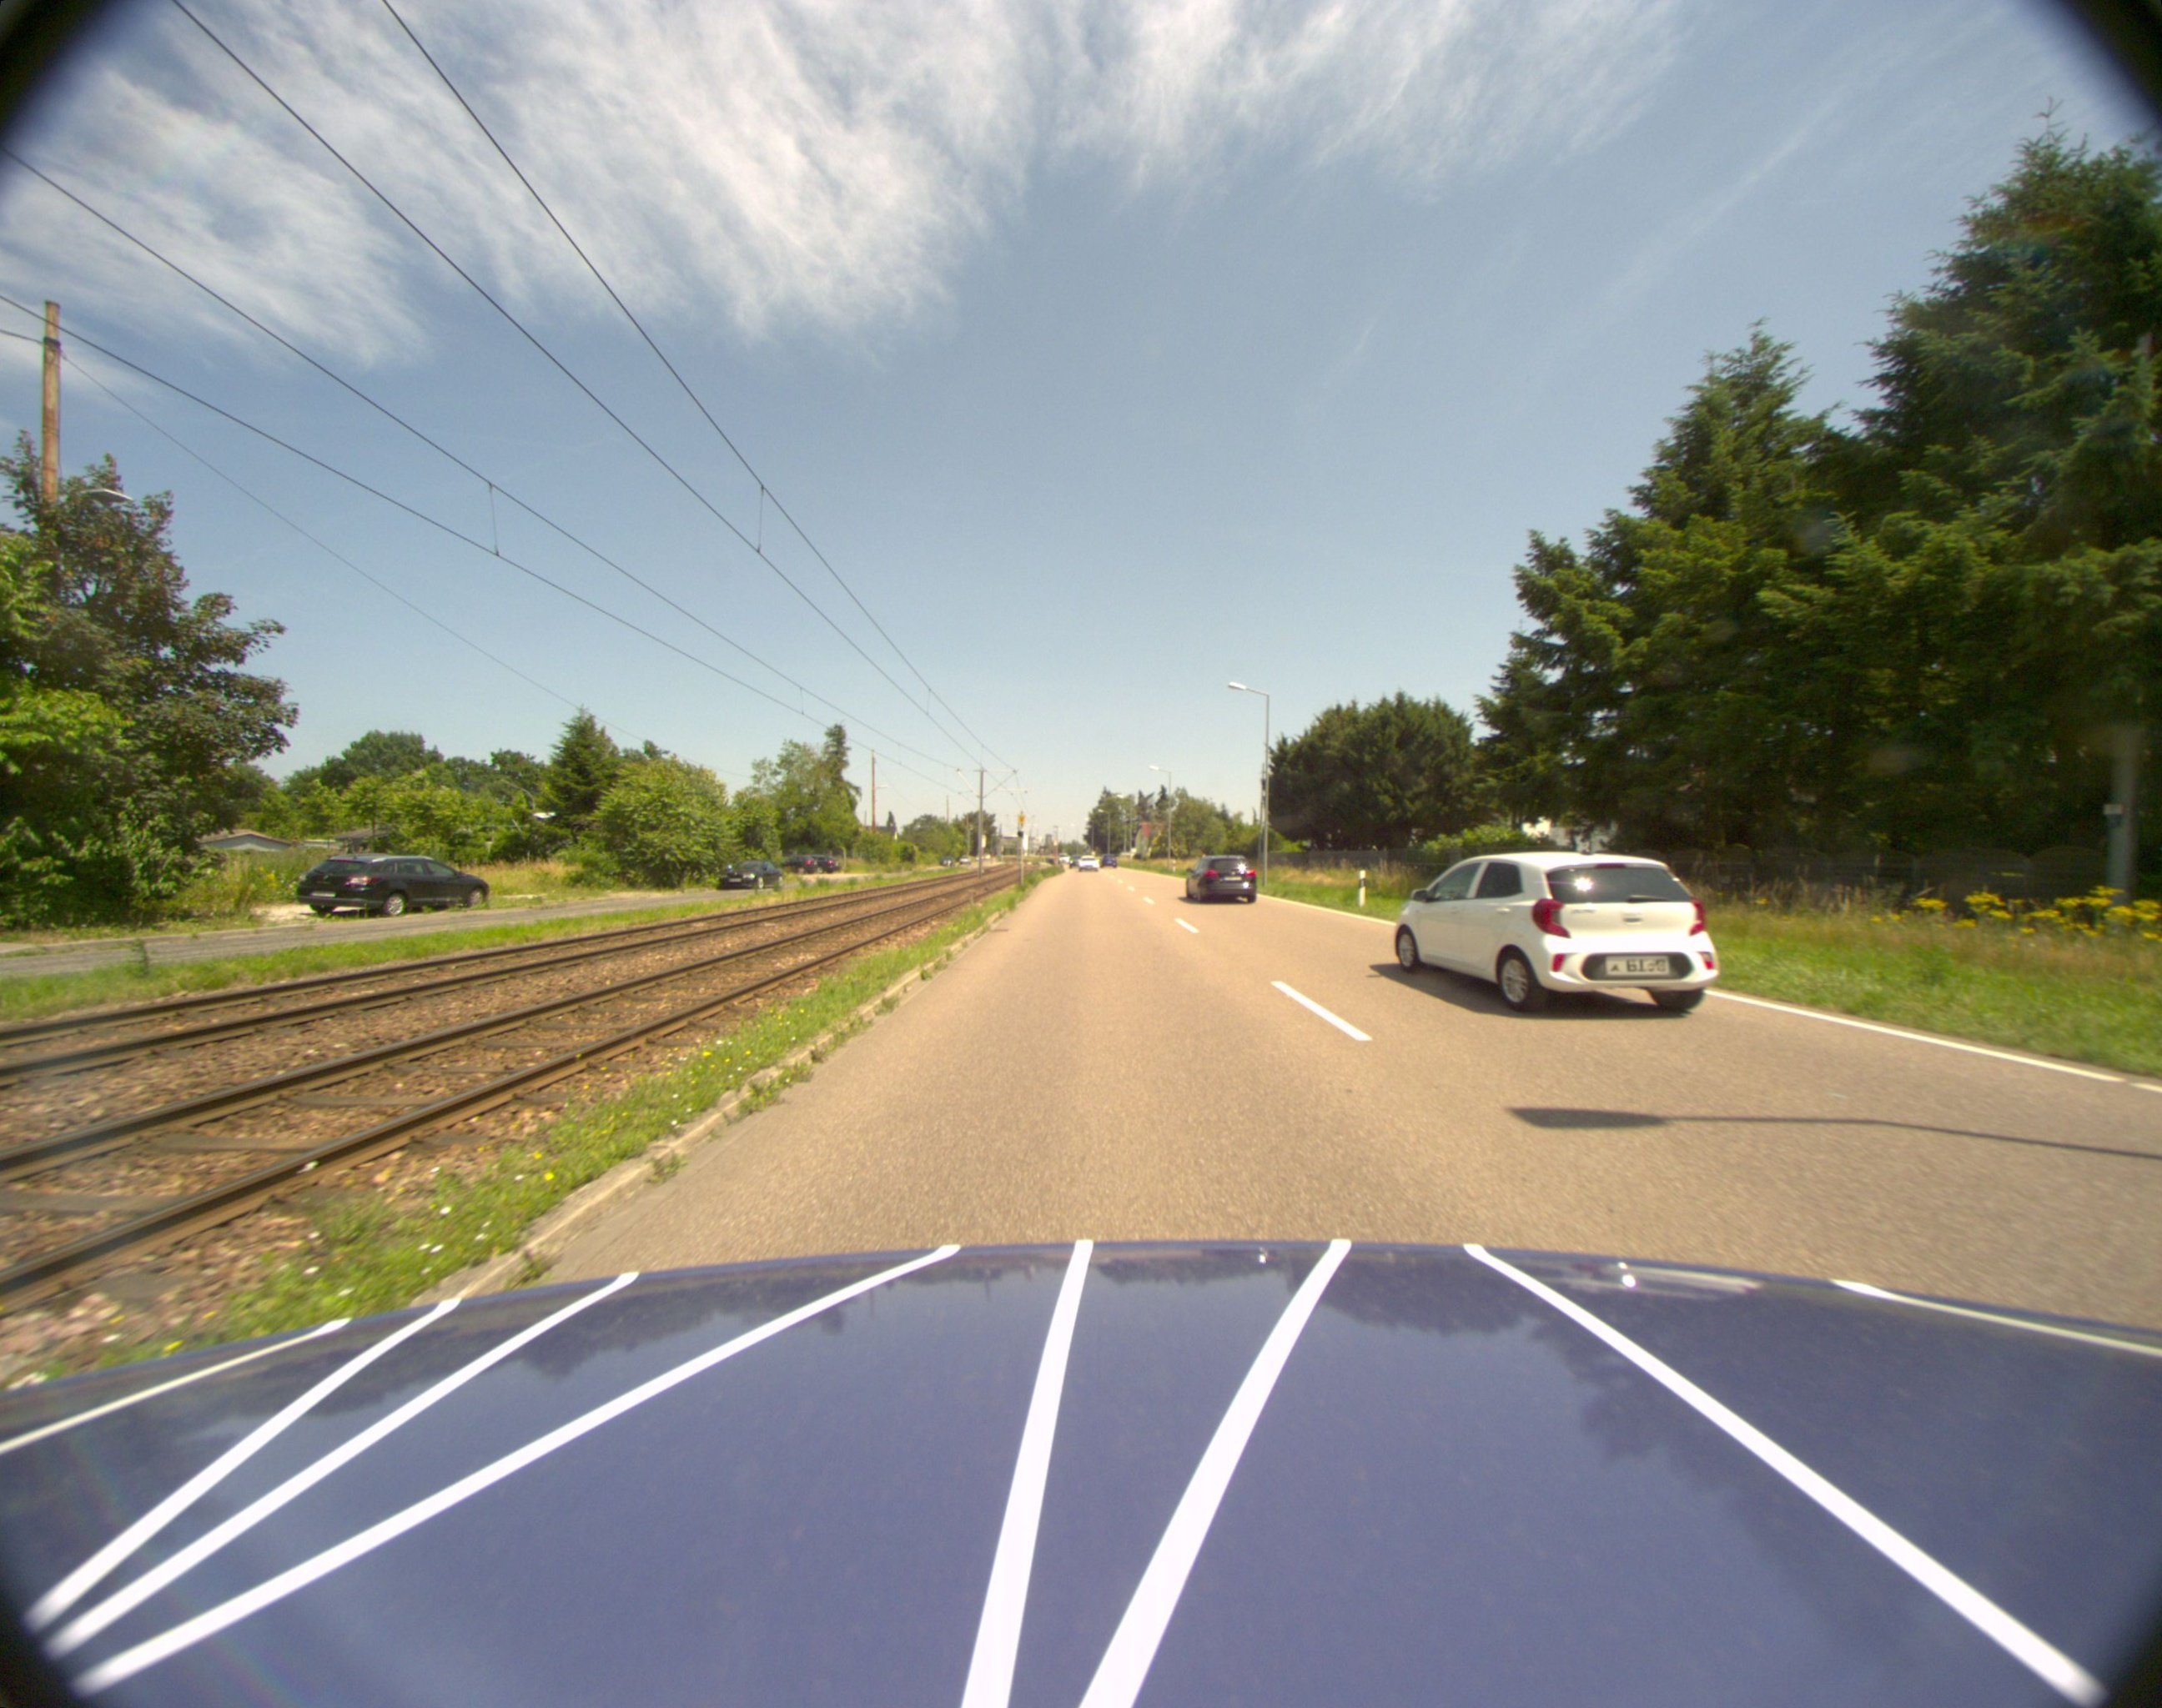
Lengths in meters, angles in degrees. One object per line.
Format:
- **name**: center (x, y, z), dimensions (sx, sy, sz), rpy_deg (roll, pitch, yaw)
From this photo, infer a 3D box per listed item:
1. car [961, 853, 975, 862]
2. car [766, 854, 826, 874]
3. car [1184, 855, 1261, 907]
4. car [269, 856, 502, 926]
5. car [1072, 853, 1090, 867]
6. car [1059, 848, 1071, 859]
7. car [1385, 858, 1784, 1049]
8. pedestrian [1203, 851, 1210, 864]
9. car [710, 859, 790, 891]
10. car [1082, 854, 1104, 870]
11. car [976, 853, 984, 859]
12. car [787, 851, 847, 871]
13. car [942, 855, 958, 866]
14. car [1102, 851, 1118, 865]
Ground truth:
- **car**: center (-18.344, 0.555, 123.686), dimensions (1.945, 1.414, 3.998), rpy_deg (0, 0, -4)
- **car**: center (-21.395, 0.739, 57.101), dimensions (3.737, 1.411, 1.899), rpy_deg (0, 1, 0)
- **car**: center (4.496, 0.805, 24.734), dimensions (1.705, 1.483, 4.440), rpy_deg (0, 0, 1)
- **car**: center (-17.757, 0.852, 19.778), dimensions (1.940, 1.552, 4.555), rpy_deg (0, 0, -2)
- **car**: center (-0.014, 0.645, 88.660), dimensions (1.999, 1.576, 3.999), rpy_deg (0, 0, -1)
- **car**: center (-2.915, -0.068, 138.371), dimensions (1.938, 2.002, 3.999), rpy_deg (0, 1, -3)
- **car**: center (4.787, 0.812, 7.964), dimensions (1.751, 1.494, 3.707), rpy_deg (0, 0, 1)
- **pedestrian**: center (13.830, 0.404, 83.655), dimensions (0.610, 1.469, 0.633), rpy_deg (0, 1, -2)
- **car**: center (-15.179, 0.936, 35.140), dimensions (1.866, 1.322, 4.514), rpy_deg (0, 0, -2)
- **car**: center (1.070, 0.695, 70.105), dimensions (1.856, 1.447, 3.705), rpy_deg (0, 0, -1)
- **car**: center (-23.776, 0.456, 179.318), dimensions (1.718, 1.480, 3.999), rpy_deg (0, 0, -5)
- **car**: center (-20.728, 0.564, 59.690), dimensions (3.995, 1.509, 1.899), rpy_deg (0, 1, 5)
- **car**: center (-18.094, 0.846, 105.243), dimensions (1.624, 1.414, 4.871), rpy_deg (0, 0, -3)
- **car**: center (3.396, 0.484, 89.740), dimensions (1.751, 1.622, 4.029), rpy_deg (0, 0, 0)
